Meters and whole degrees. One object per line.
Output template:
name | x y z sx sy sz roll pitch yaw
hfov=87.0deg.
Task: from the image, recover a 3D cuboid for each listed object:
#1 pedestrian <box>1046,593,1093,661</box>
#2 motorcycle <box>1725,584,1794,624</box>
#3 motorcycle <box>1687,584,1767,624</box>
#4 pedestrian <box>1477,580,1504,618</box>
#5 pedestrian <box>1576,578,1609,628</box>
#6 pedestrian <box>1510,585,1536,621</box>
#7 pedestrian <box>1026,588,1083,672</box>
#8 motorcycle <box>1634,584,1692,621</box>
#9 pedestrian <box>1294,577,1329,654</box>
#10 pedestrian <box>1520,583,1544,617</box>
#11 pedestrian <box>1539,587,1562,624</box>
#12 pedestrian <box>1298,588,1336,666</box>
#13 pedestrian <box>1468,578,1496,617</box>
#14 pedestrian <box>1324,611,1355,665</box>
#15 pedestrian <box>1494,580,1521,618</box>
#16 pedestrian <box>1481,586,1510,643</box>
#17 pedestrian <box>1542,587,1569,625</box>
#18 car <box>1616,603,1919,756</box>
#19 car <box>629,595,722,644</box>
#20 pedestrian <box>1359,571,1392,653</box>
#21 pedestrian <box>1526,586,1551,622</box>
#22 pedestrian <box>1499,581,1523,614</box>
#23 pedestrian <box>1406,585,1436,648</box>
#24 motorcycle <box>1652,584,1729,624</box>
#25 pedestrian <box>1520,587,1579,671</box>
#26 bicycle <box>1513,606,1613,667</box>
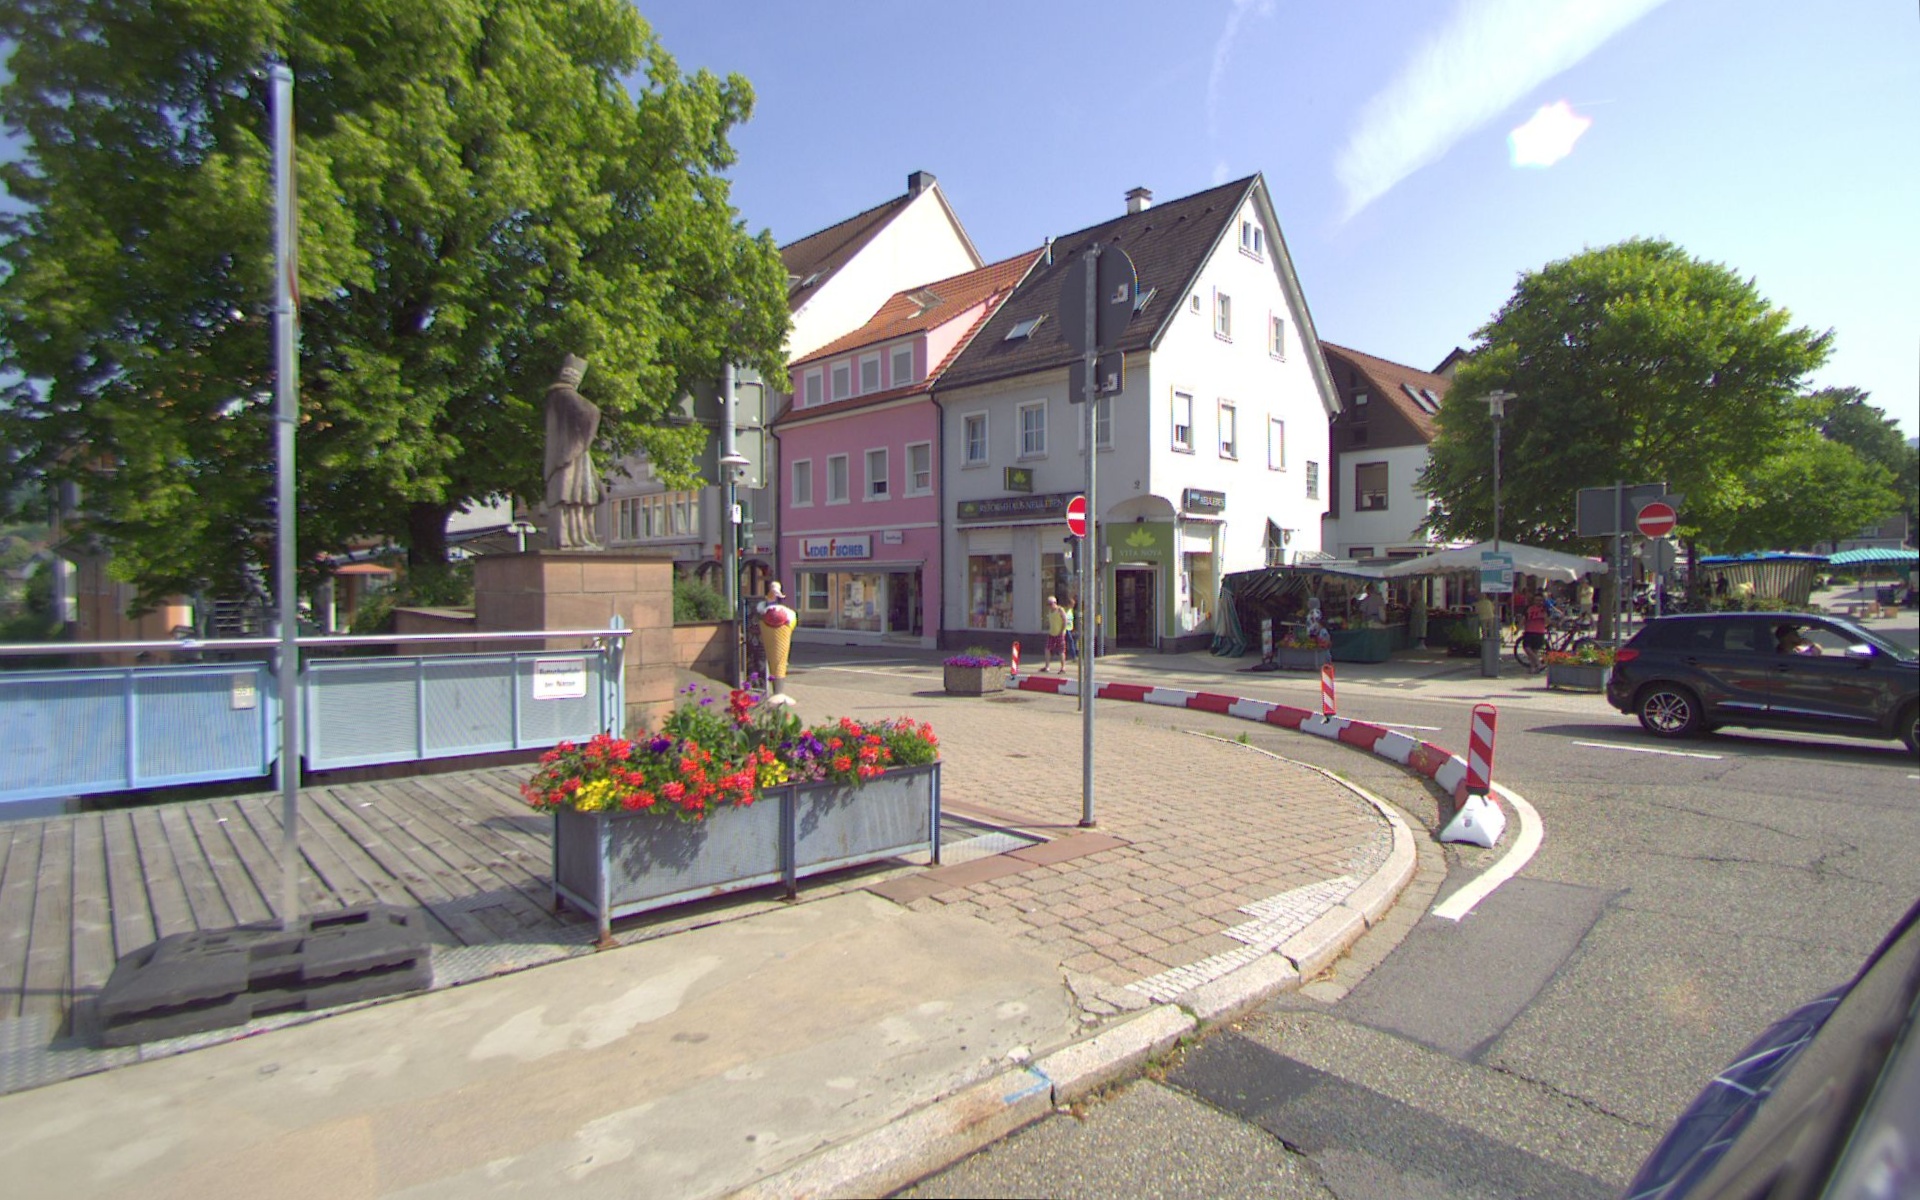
pedestrian | 2.785 0.671 25.813 0.775 1.652 0.857 -4 3 -42
motorcycle | 27.074 0.105 34.314 0.631 1.210 2.007 2 3 -2
motorcycle | 25.943 0.108 34.270 0.630 1.210 2.009 0 3 -29
pedestrian | 19.252 -0.036 36.713 0.687 1.347 0.626 -1 4 -40
pedestrian | 20.769 0.086 33.218 0.561 1.572 0.699 -1 3 -37
pedestrian | 19.663 0.110 35.345 0.640 1.215 0.571 -2 4 -42
pedestrian | 2.146 0.667 22.964 0.901 1.838 1.009 1 0 33
motorcycle | 24.981 0.065 35.978 0.633 1.210 1.530 -1 4 -43
pedestrian | 9.237 0.404 26.602 0.692 1.995 0.509 0 0 -17
pedestrian | 21.258 -0.001 37.593 0.640 1.215 0.571 -2 4 -42
pedestrian | 19.944 0.181 34.195 0.569 1.215 0.642 3 4 37
pedestrian | 8.146 0.599 23.076 0.779 1.745 0.702 1 0 22
pedestrian | 18.601 -0.099 36.071 0.687 1.347 0.626 -1 4 -40
pedestrian | 8.412 0.833 22.460 0.614 1.175 0.513 1 0 20
pedestrian | 20.166 -0.044 37.302 0.687 1.347 0.626 -1 4 -40
pedestrian | 14.547 0.381 27.476 0.618 1.537 0.625 1 0 35
pedestrian | 19.568 0.189 33.266 0.694 1.215 0.565 3 3 34
car | 10.261 0.851 11.906 1.654 1.580 3.967 0 0 -38
car | -11.179 0.710 39.670 4.133 1.760 1.685 0 2 45
pedestrian | 10.338 0.288 25.152 0.700 2.010 0.647 1 0 26
pedestrian | 20.408 0.128 35.702 0.640 1.215 0.571 -2 4 -42
pedestrian | 20.719 -0.093 38.064 0.640 1.215 0.571 -2 4 -42
pedestrian | 12.382 0.429 27.178 0.520 1.647 0.696 1 0 43
motorcycle | 24.882 0.107 34.527 0.630 1.210 2.009 -1 4 -29
pedestrian | 12.424 0.597 21.331 0.562 1.678 0.882 -1 4 -42
bicycle | 13.242 0.777 22.249 1.850 1.250 0.610 0 1 35
